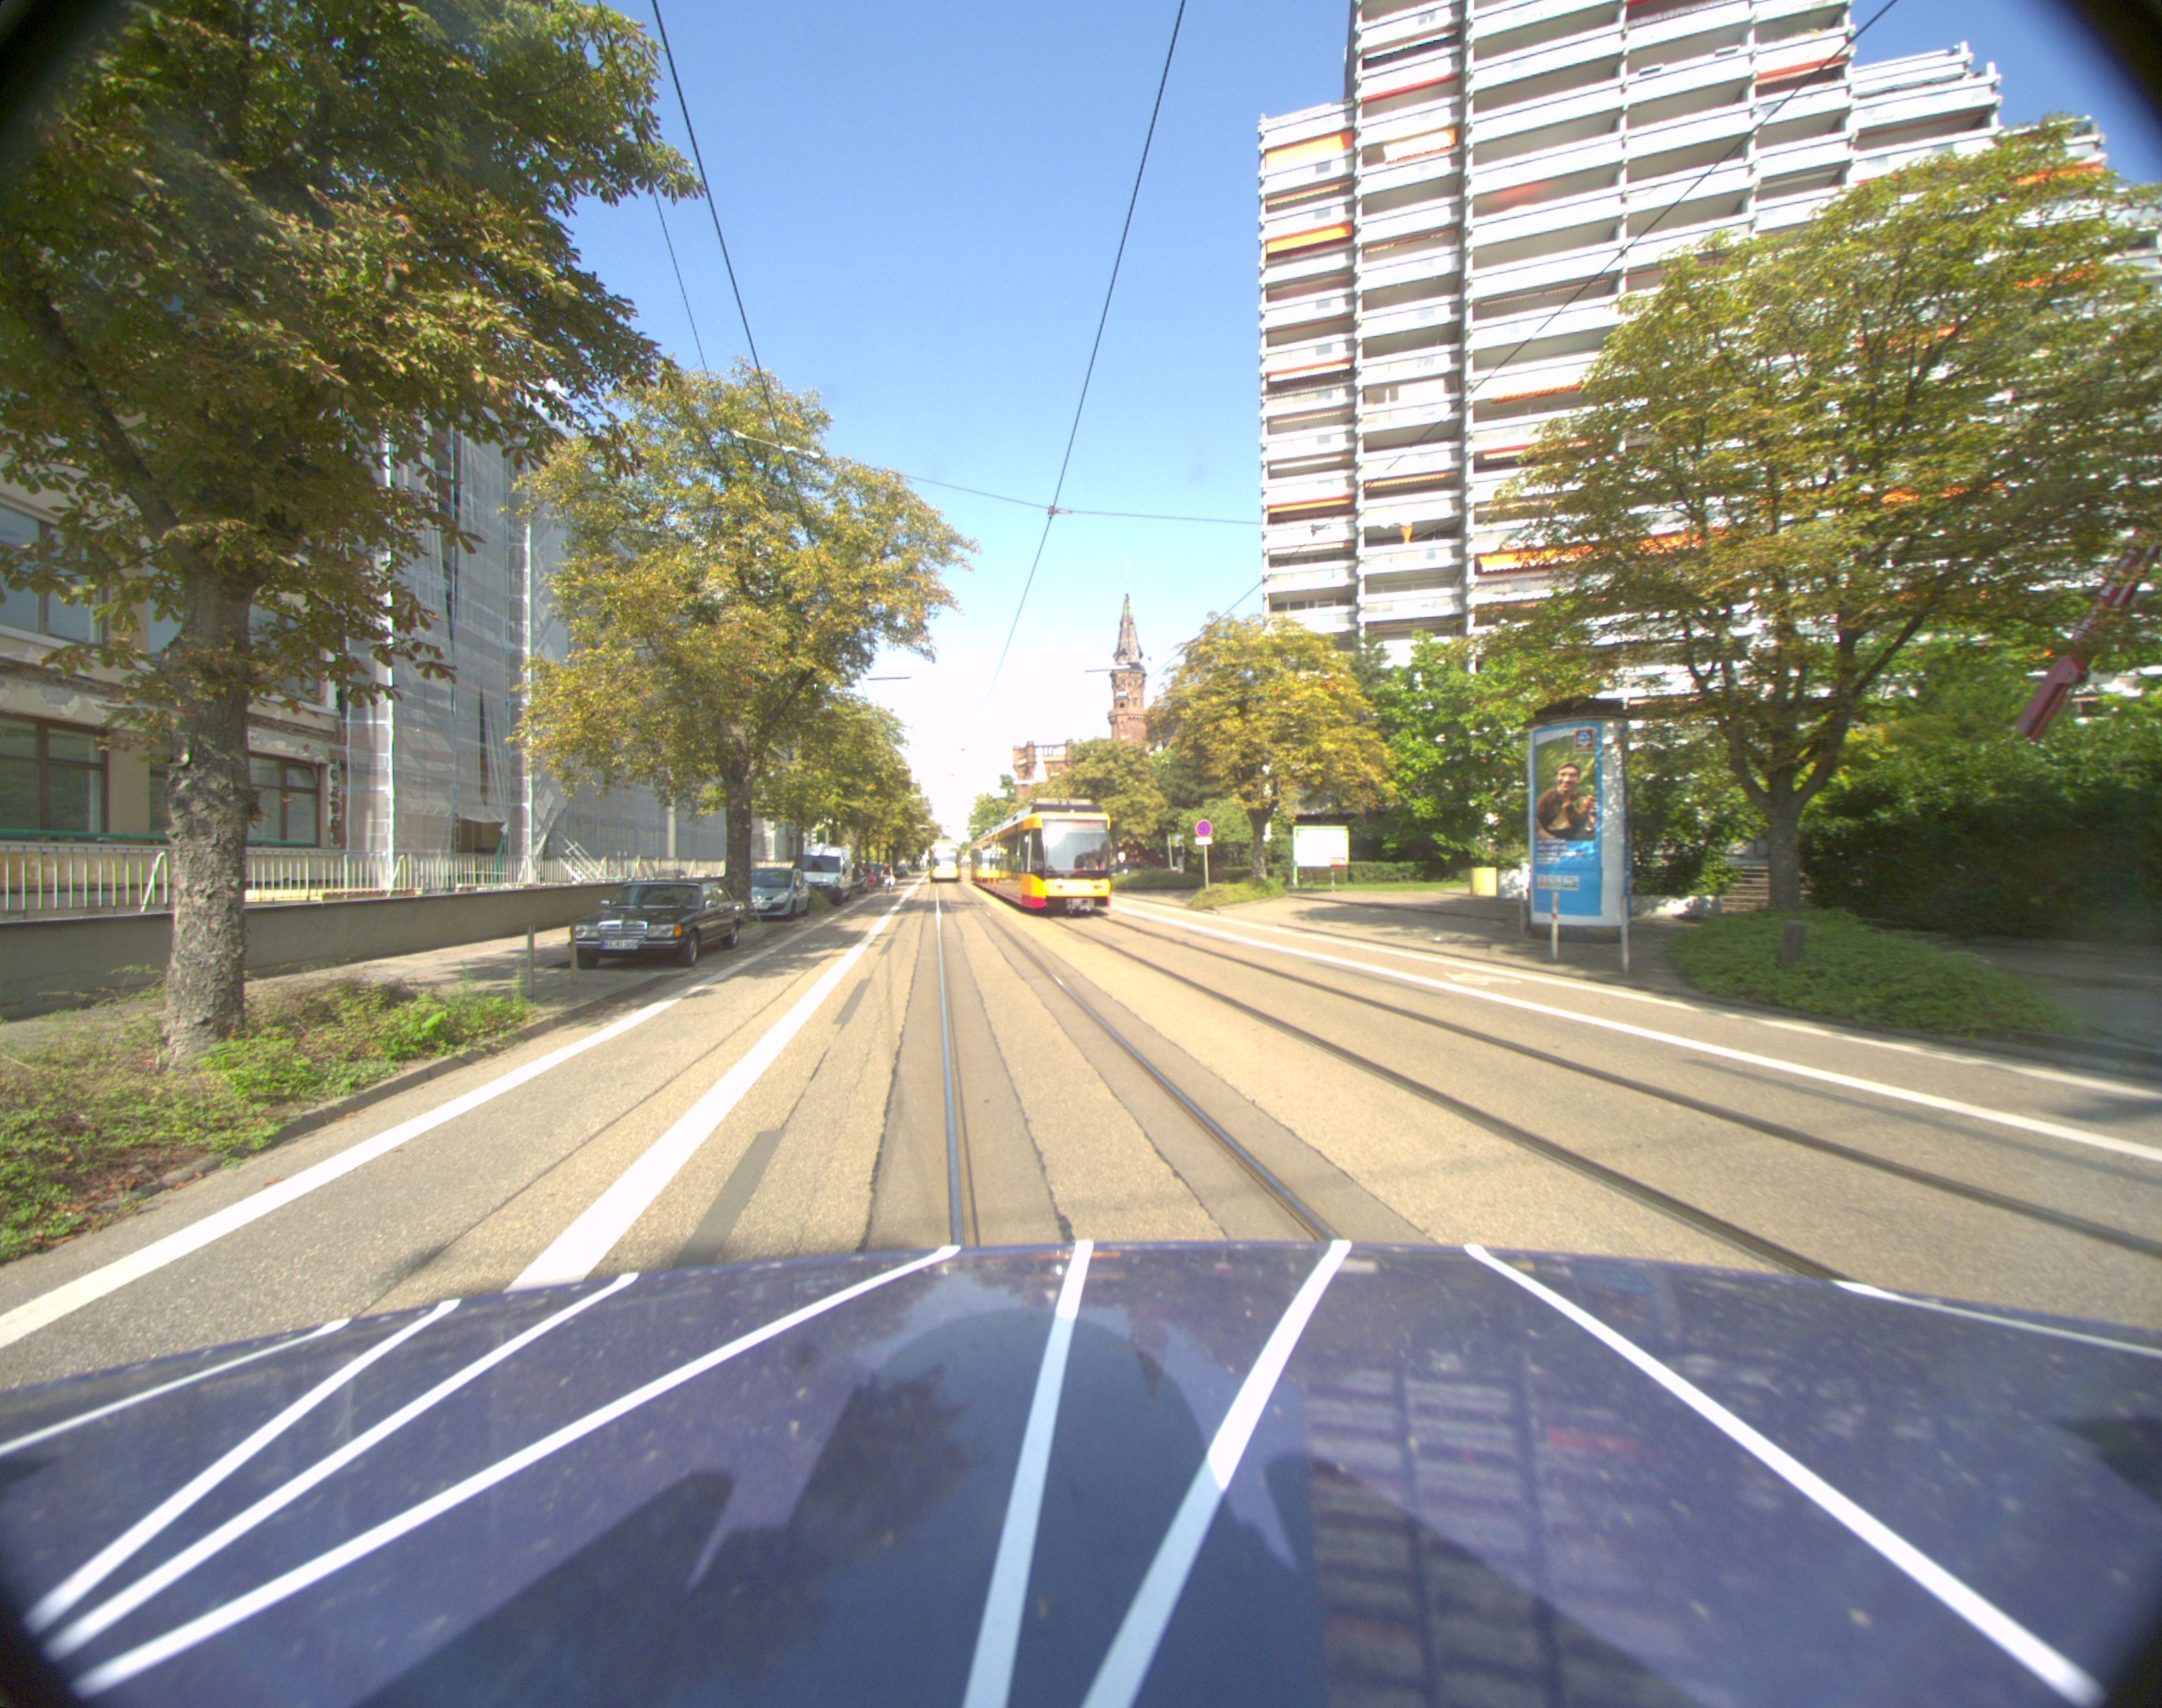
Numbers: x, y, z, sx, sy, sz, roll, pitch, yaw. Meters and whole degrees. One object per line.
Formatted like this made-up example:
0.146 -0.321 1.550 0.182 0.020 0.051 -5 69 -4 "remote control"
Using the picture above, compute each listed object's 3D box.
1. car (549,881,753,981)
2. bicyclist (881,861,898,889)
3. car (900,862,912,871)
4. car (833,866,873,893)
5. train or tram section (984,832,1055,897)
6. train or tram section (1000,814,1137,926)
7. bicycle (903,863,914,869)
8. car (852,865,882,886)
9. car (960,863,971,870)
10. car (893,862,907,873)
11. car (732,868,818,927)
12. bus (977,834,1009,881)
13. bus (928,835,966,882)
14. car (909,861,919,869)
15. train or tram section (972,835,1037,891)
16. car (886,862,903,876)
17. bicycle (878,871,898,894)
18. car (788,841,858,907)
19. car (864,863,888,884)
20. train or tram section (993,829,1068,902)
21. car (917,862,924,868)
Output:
-7.504 1.252 13.855 1.759 1.369 4.714 1 0 -10 "car"
-10.494 1.136 41.647 0.789 1.461 1.115 -1 0 -9 "bicyclist"
-26.655 1.909 115.917 1.646 1.421 3.985 0 0 -12 "car"
-12.809 1.410 42.915 1.622 1.366 4.823 0 0 -10 "car"
-3.094 0.459 36.676 2.738 2.833 6.537 0 0 -11 "train or tram section"
-0.851 0.402 24.656 2.690 2.845 10.533 0 0 -11 "train or tram section"
-29.048 2.057 128.072 1.775 1.057 0.795 1 0 -13 "bicycle"
-14.893 1.467 53.028 1.622 1.405 3.996 0 0 -10 "car"
-22.207 2.388 146.034 1.835 1.367 4.508 2 -1 -11 "car"
-23.290 1.701 97.758 1.652 1.420 4.081 1 0 -12 "car"
-9.237 1.261 23.226 1.670 1.607 3.874 1 -1 -10 "car"
-7.724 0.323 65.941 2.478 3.767 9.123 -1 0 -8 "bus"
-11.405 0.361 65.338 2.903 3.771 9.311 -1 0 -8 "bus"
-32.058 2.038 145.738 1.747 1.477 4.433 1 -1 -12 "car"
-5.091 0.476 47.496 2.738 2.877 15.440 0 0 -10 "train or tram section"
-21.010 1.653 85.660 1.652 1.502 3.775 1 0 -10 "car"
-10.364 1.494 40.856 0.789 1.138 2.303 -1 0 -9 "bicycle"
-10.973 0.804 32.724 2.090 2.537 5.495 3 -1 -12 "car"
-17.037 1.613 63.286 1.759 1.681 4.392 -1 0 -12 "car"
-2.180 0.439 31.650 2.715 2.840 3.645 0 0 -11 "train or tram section"
-39.178 2.624 185.453 1.568 1.433 3.560 2 -1 -13 "car"
